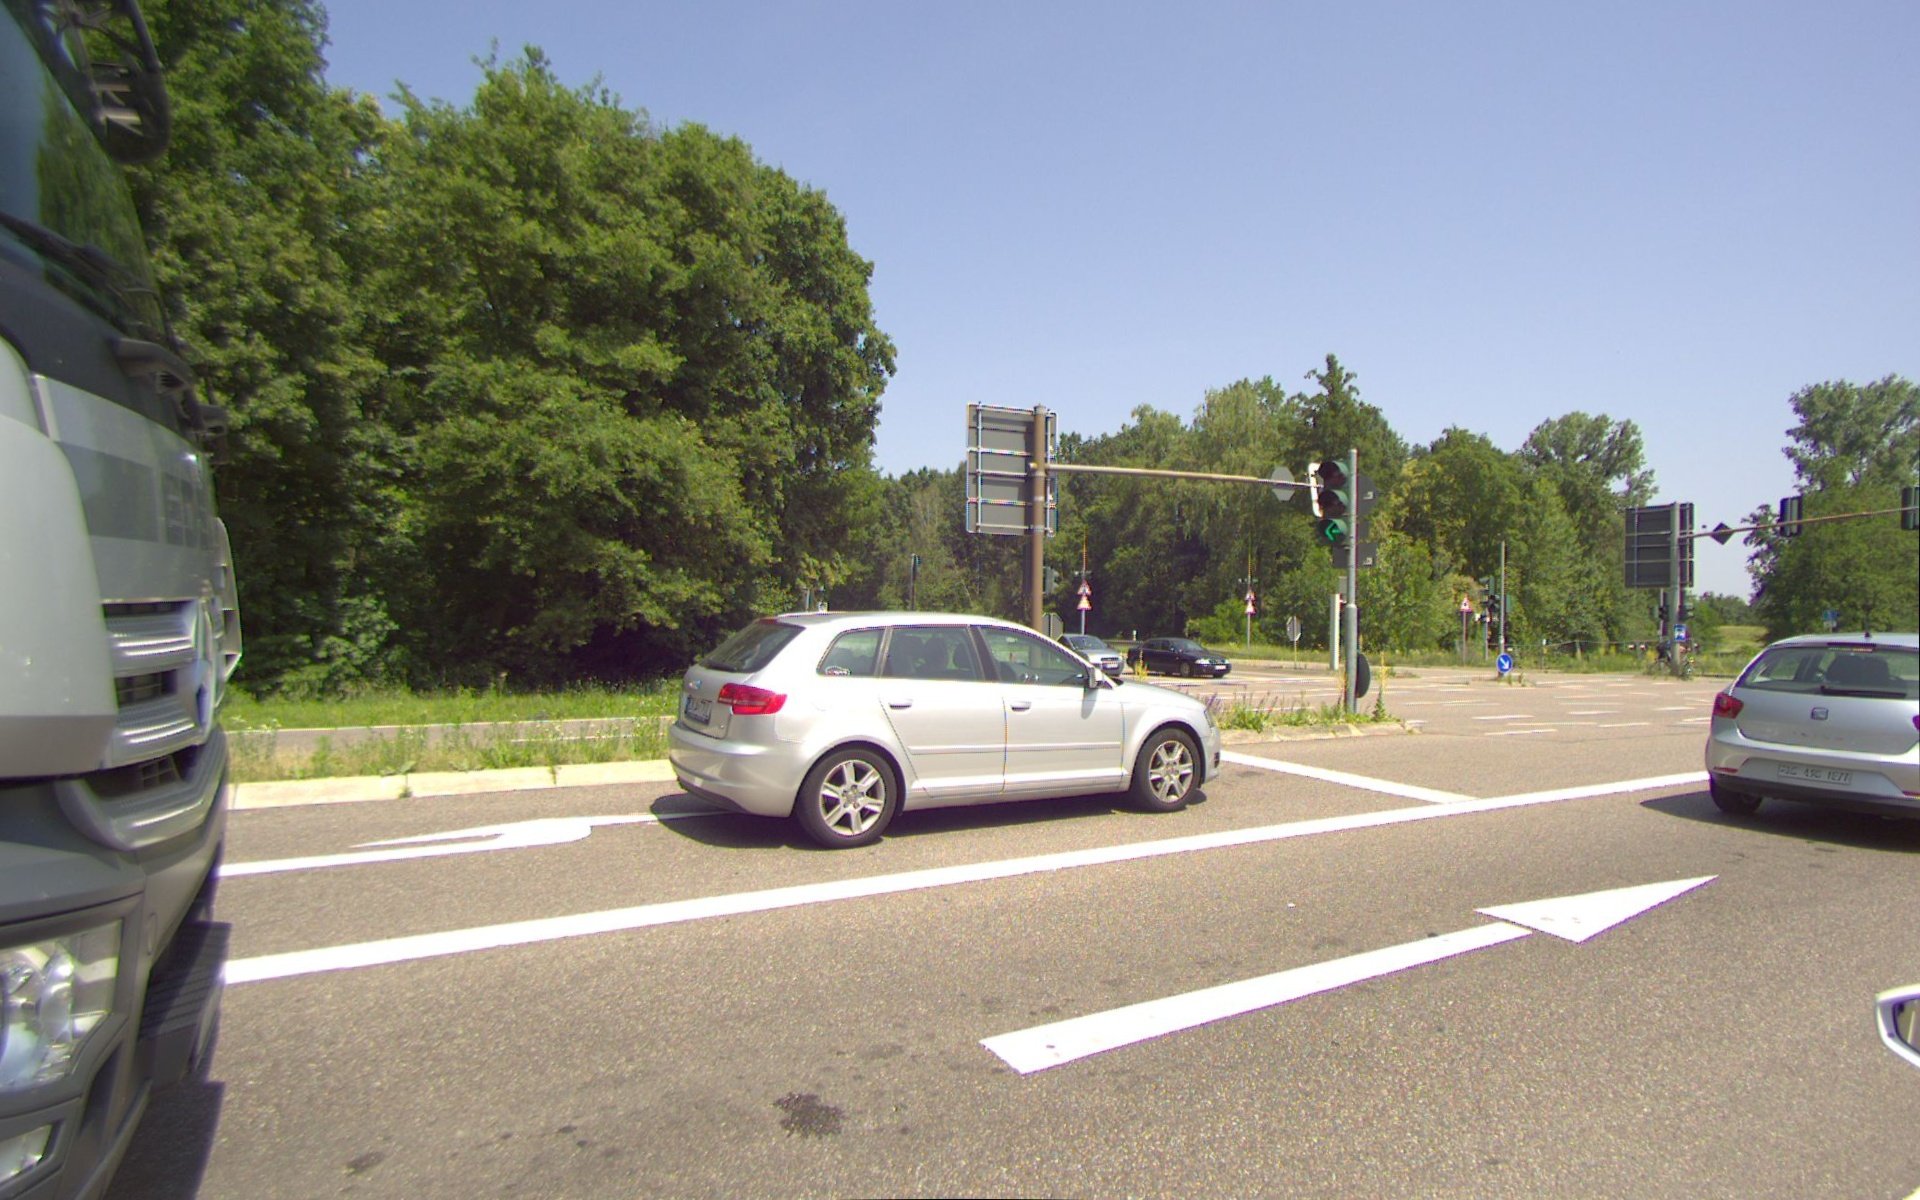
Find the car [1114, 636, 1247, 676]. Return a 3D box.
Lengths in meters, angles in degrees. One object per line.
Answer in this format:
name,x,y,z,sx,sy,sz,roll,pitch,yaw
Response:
car,7.935,2.001,36.602,2.080,1.307,4.784,2,-2,-29

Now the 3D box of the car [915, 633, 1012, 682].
car,0.064,2.372,42.626,1.977,1.923,4.782,2,-2,-30

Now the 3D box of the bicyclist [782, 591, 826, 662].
bicyclist,-3.320,0.570,21.403,0.798,1.484,0.658,1,-2,-21

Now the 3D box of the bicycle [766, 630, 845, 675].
bicycle,-3.295,1.111,21.405,1.581,0.935,0.564,1,-2,-21

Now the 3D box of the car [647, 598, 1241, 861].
car,-0.020,0.743,7.269,3.971,1.410,1.755,1,0,-32

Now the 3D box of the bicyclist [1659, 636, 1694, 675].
bicyclist,27.326,2.105,38.317,0.701,1.479,0.927,0,-2,7

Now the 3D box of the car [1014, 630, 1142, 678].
car,4.099,1.867,35.647,2.105,1.588,4.783,2,-2,-30

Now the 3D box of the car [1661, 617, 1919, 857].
car,7.300,0.909,7.747,3.783,1.449,1.658,2,0,-30

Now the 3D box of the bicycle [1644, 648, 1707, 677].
bicycle,27.279,2.386,38.326,1.831,1.077,0.725,0,-2,7
